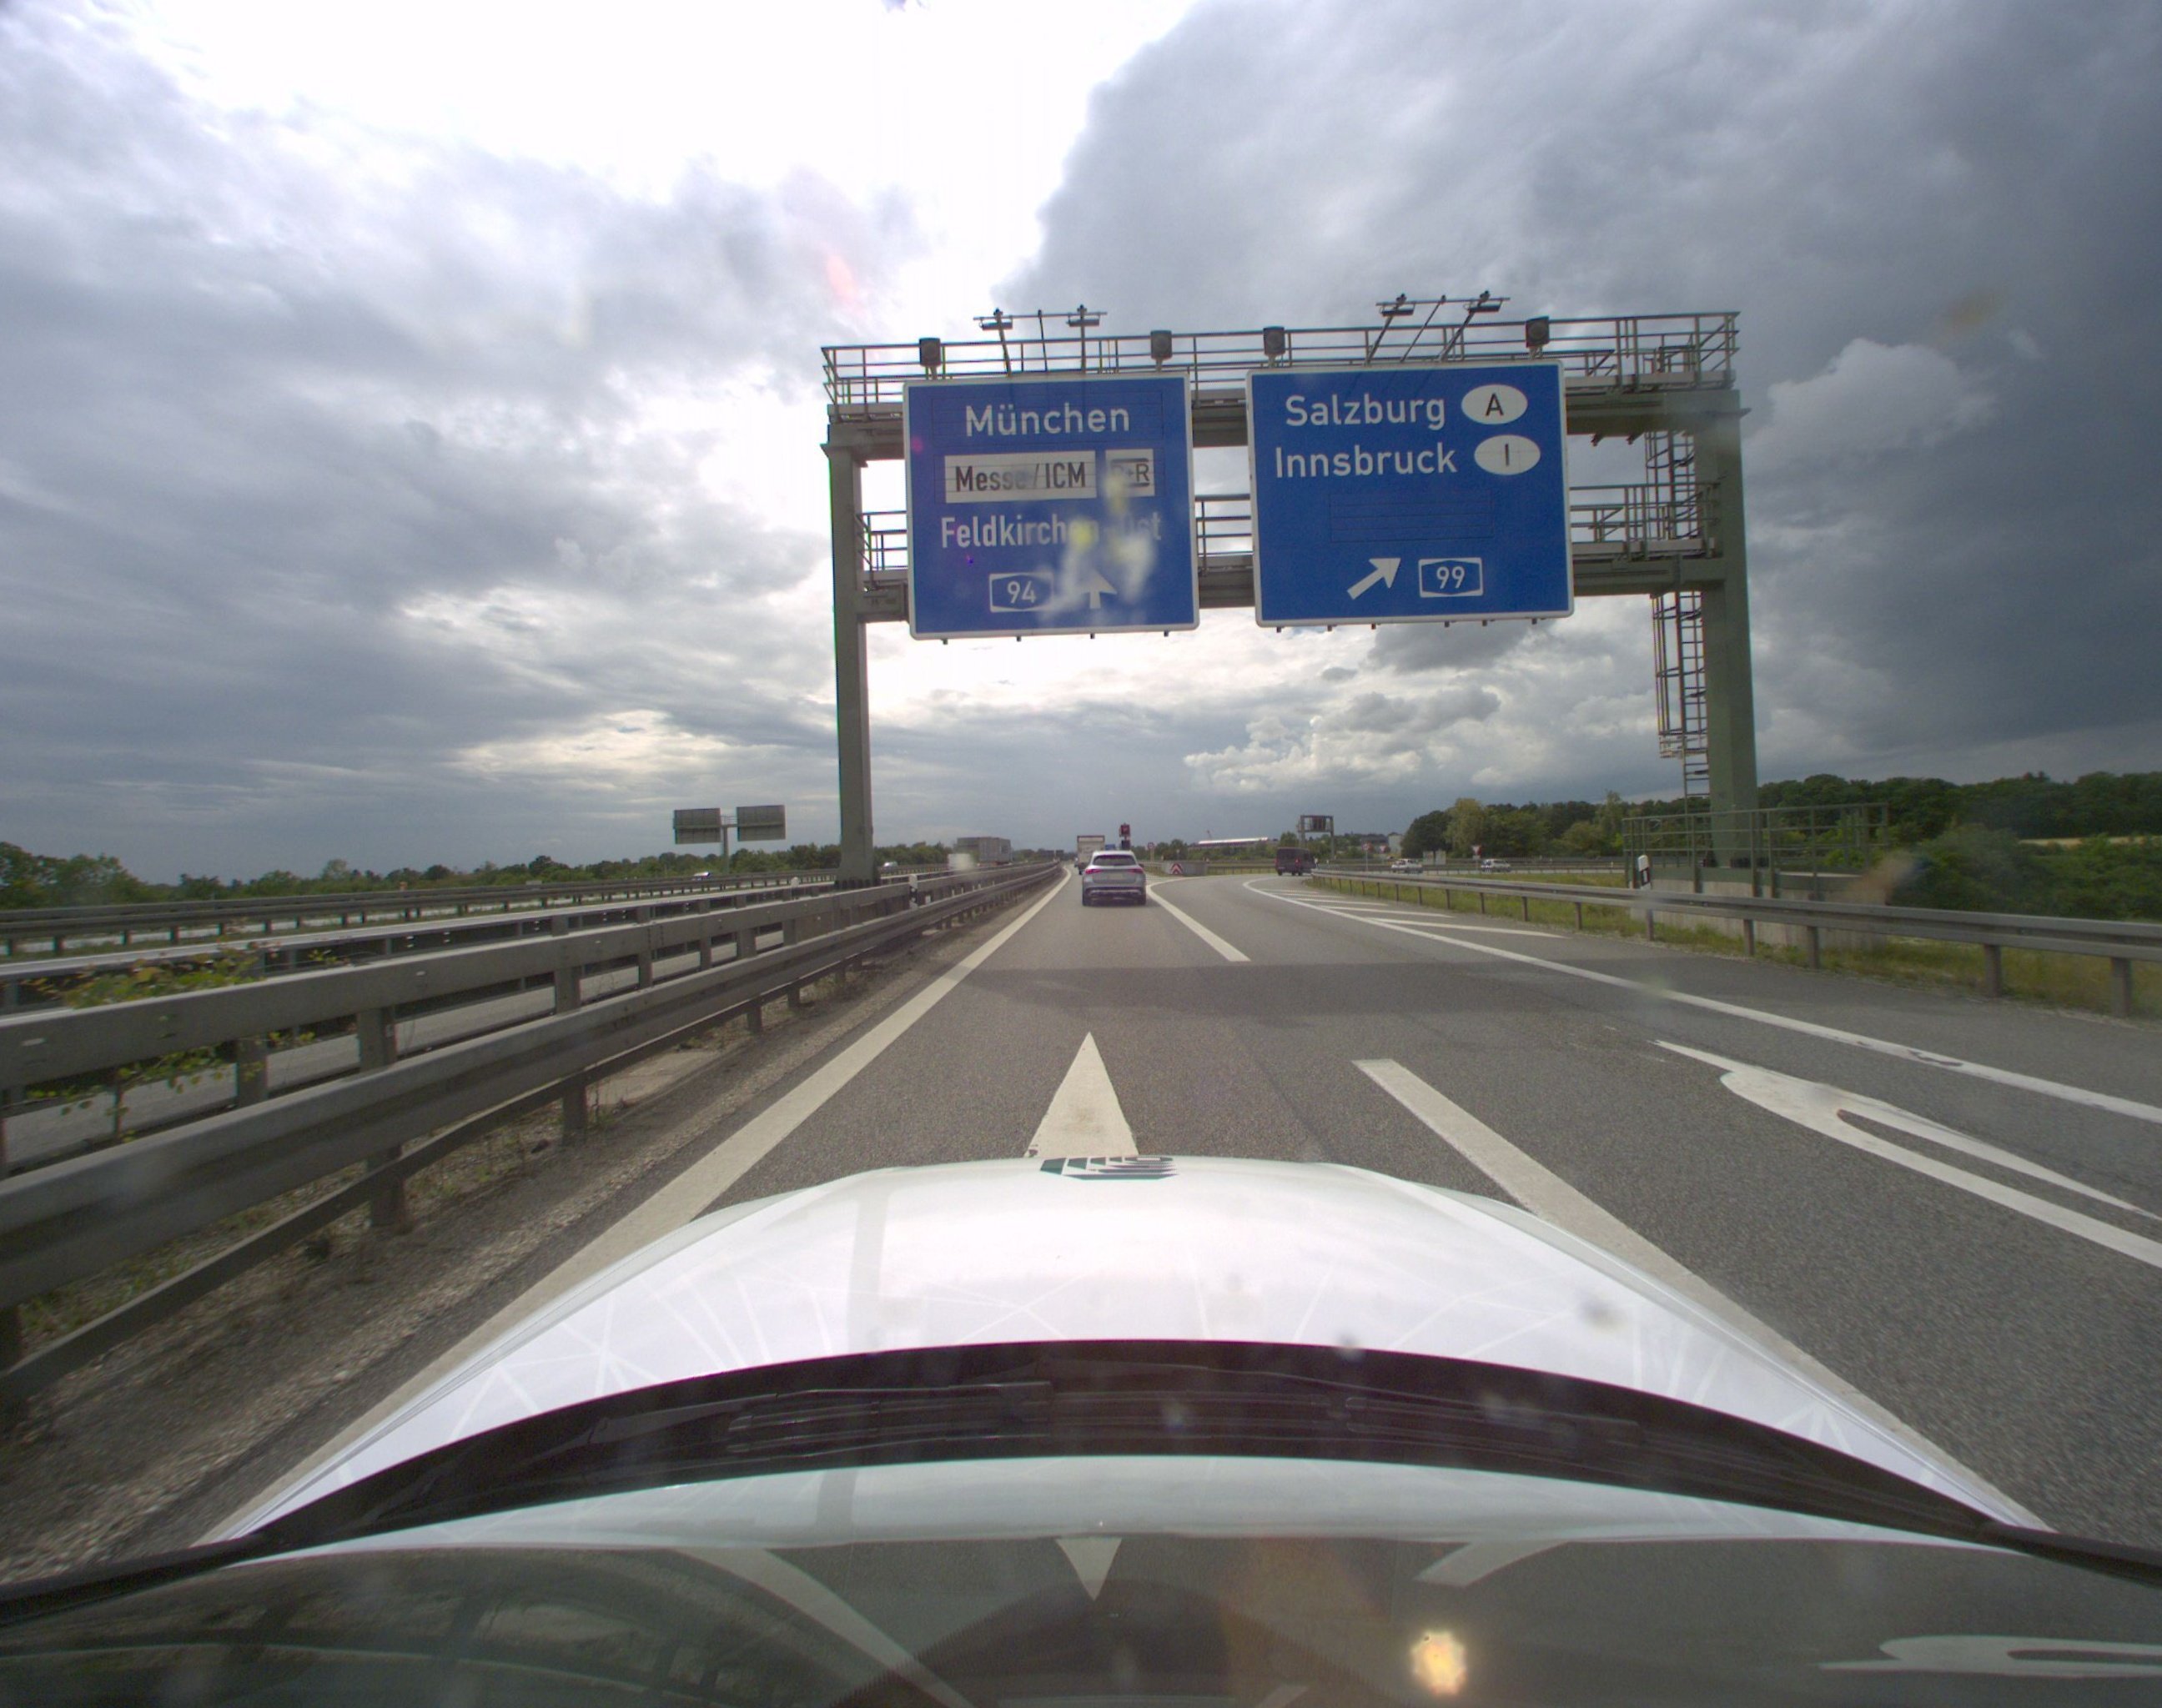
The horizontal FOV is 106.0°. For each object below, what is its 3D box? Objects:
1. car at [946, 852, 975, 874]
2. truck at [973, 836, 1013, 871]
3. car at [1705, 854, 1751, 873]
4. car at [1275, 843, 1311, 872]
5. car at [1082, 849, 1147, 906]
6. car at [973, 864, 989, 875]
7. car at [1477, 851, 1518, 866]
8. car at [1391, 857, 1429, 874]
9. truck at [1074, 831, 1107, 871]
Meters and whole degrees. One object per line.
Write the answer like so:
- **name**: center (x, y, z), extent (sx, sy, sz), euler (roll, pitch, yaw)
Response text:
- **car**: center (-11.767, 0.891, 79.828), extent (1.986, 2.013, 4.376), euler (-1, 1, 2)
- **truck**: center (-11.044, -0.201, 104.204), extent (3.172, 4.018, 16.077), euler (-1, 1, 1)
- **car**: center (77.659, 1.124, 97.817), extent (3.962, 2.013, 1.788), euler (2, 0, 10)
- **car**: center (17.776, 0.260, 68.097), extent (1.888, 2.261, 4.678), euler (-1, 1, 28)
- **car**: center (1.003, 0.650, 24.981), extent (1.812, 1.514, 4.002), euler (-1, 1, 2)
- **car**: center (-14.705, 2.307, 120.007), extent (1.792, 1.419, 3.999), euler (-1, 1, -1)
- **car**: center (48.701, 0.522, 95.203), extent (3.994, 1.709, 1.990), euler (-1, 1, -15)
- **car**: center (35.708, 1.258, 88.439), extent (4.017, 1.709, 1.979), euler (-2, 1, -35)
- **truck**: center (0.851, -0.222, 68.483), extent (2.560, 3.126, 8.636), euler (-1, 0, 1)
